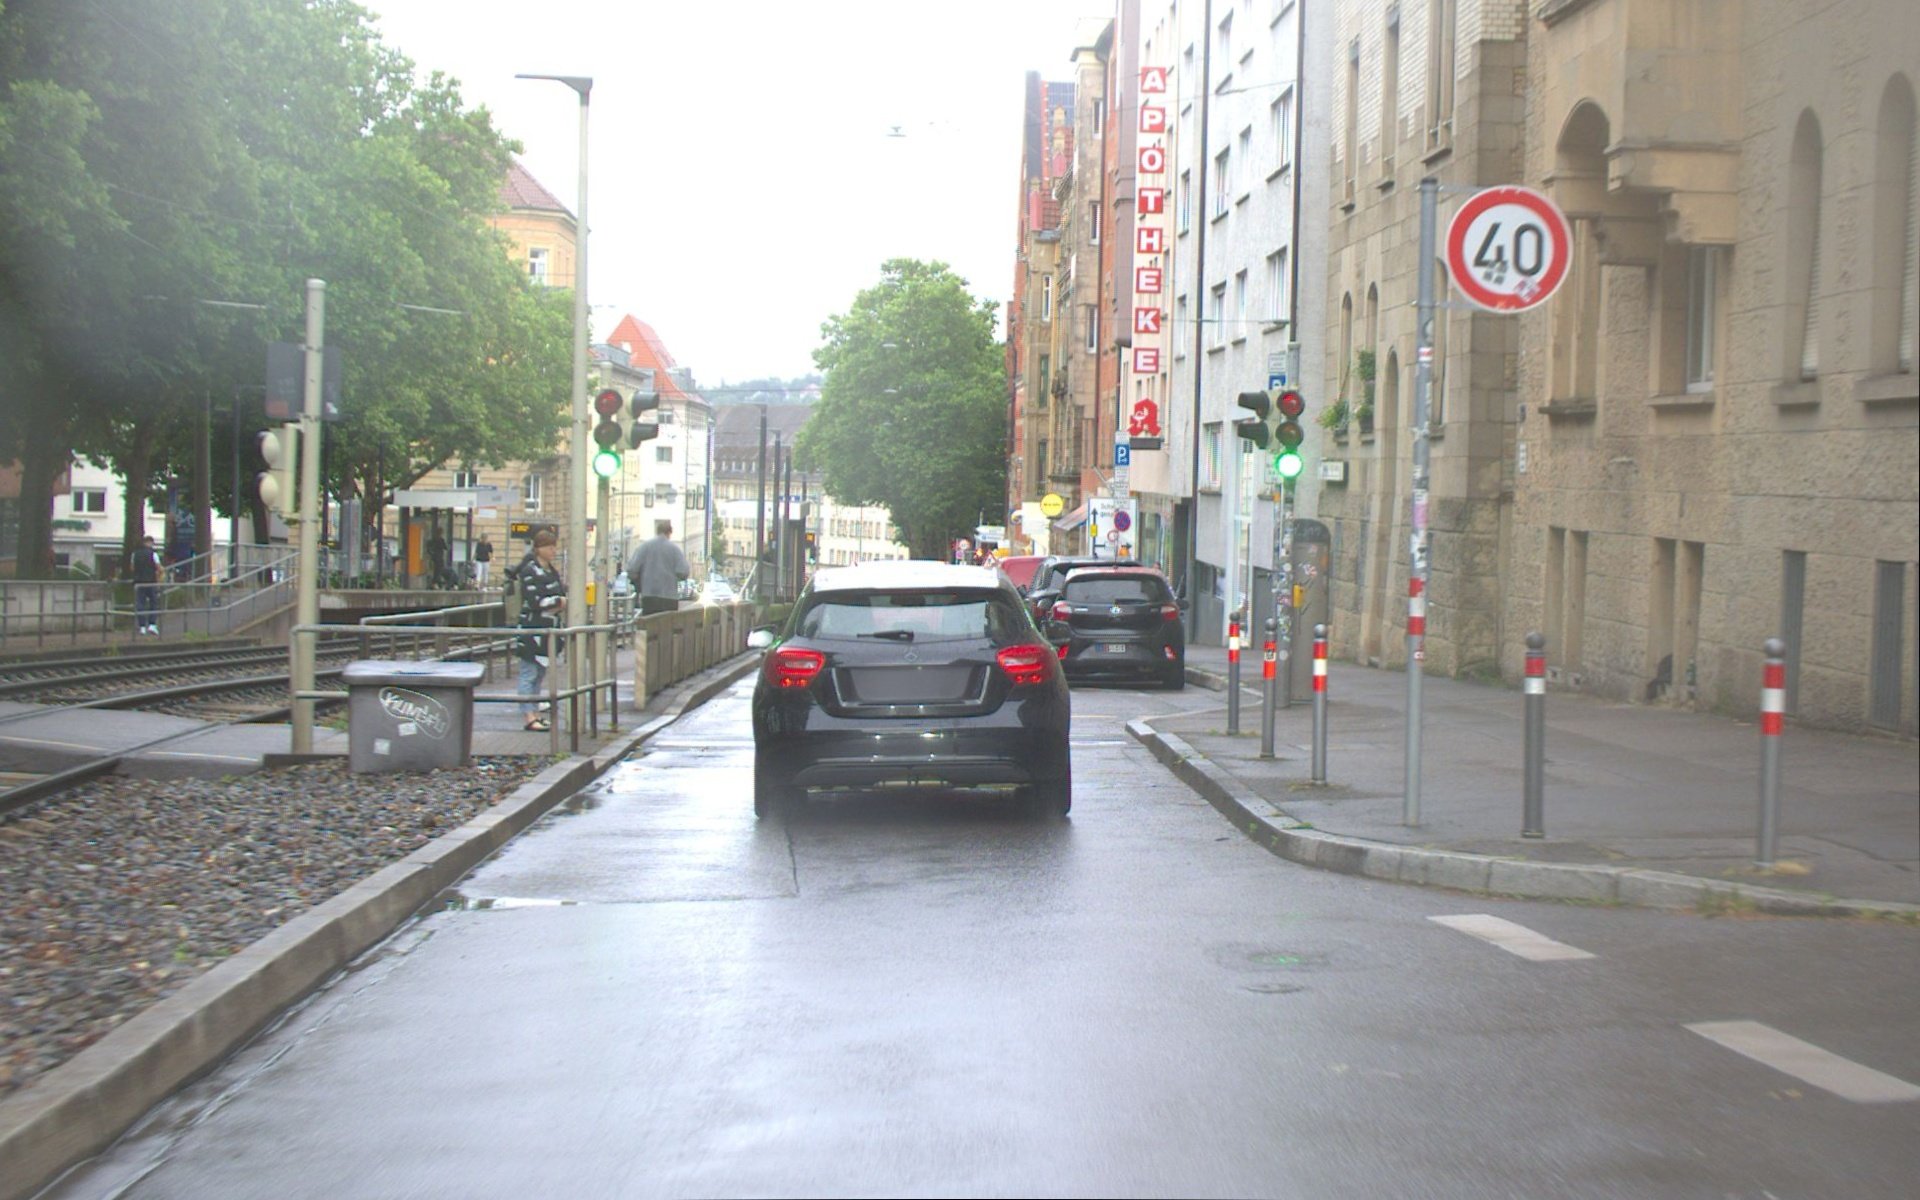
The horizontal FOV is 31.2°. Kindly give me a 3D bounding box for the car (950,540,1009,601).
[{"bbox_3d":[0.666,-1.038,119.710,1.993,2.007,4.000,-1,2,0],"label":"car"}]

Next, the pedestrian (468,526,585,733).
[{"bbox_3d":[-3.488,0.227,27.739,0.806,1.628,0.892,-1,1,0],"label":"pedestrian"}]

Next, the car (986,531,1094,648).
[{"bbox_3d":[1.425,-0.229,62.527,1.759,2.007,4.001,-1,2,-1],"label":"car"}]

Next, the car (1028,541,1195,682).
[{"bbox_3d":[1.842,0.102,42.894,1.827,1.612,3.864,-1,2,-1],"label":"car"}]

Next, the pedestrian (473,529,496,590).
[{"bbox_3d":[-13.608,-1.152,98.376,0.518,1.711,0.551,2,1,-1],"label":"pedestrian"}]

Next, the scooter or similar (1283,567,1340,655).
[{"bbox_3d":[5.500,0.162,53.805,0.448,1.316,1.778,-1,1,-8],"label":"scooter or similar"}]

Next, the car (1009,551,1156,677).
[{"bbox_3d":[1.637,0.152,47.051,1.759,1.573,4.001,-1,2,-1],"label":"car"}]

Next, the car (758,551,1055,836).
[{"bbox_3d":[-0.339,0.477,20.214,1.580,1.499,3.575,0,1,-2],"label":"car"}]

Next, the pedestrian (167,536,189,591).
[{"bbox_3d":[-22.963,-1.071,100.997,0.519,1.590,0.600,0,1,0],"label":"pedestrian"}]

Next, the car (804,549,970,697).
[{"bbox_3d":[-0.829,0.221,39.301,1.785,1.575,4.000,0,1,-1],"label":"car"}]

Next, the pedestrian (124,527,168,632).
[{"bbox_3d":[-13.861,-0.352,58.558,0.534,1.748,0.607,2,1,-1],"label":"pedestrian"}]

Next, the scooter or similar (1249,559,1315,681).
[{"bbox_3d":[3.629,0.212,38.840,0.448,1.316,1.778,-1,1,-4],"label":"scooter or similar"}]

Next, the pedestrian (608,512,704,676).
[{"bbox_3d":[-3.765,-0.092,42.670,1.137,1.991,1.173,-1,1,-5],"label":"pedestrian"}]
